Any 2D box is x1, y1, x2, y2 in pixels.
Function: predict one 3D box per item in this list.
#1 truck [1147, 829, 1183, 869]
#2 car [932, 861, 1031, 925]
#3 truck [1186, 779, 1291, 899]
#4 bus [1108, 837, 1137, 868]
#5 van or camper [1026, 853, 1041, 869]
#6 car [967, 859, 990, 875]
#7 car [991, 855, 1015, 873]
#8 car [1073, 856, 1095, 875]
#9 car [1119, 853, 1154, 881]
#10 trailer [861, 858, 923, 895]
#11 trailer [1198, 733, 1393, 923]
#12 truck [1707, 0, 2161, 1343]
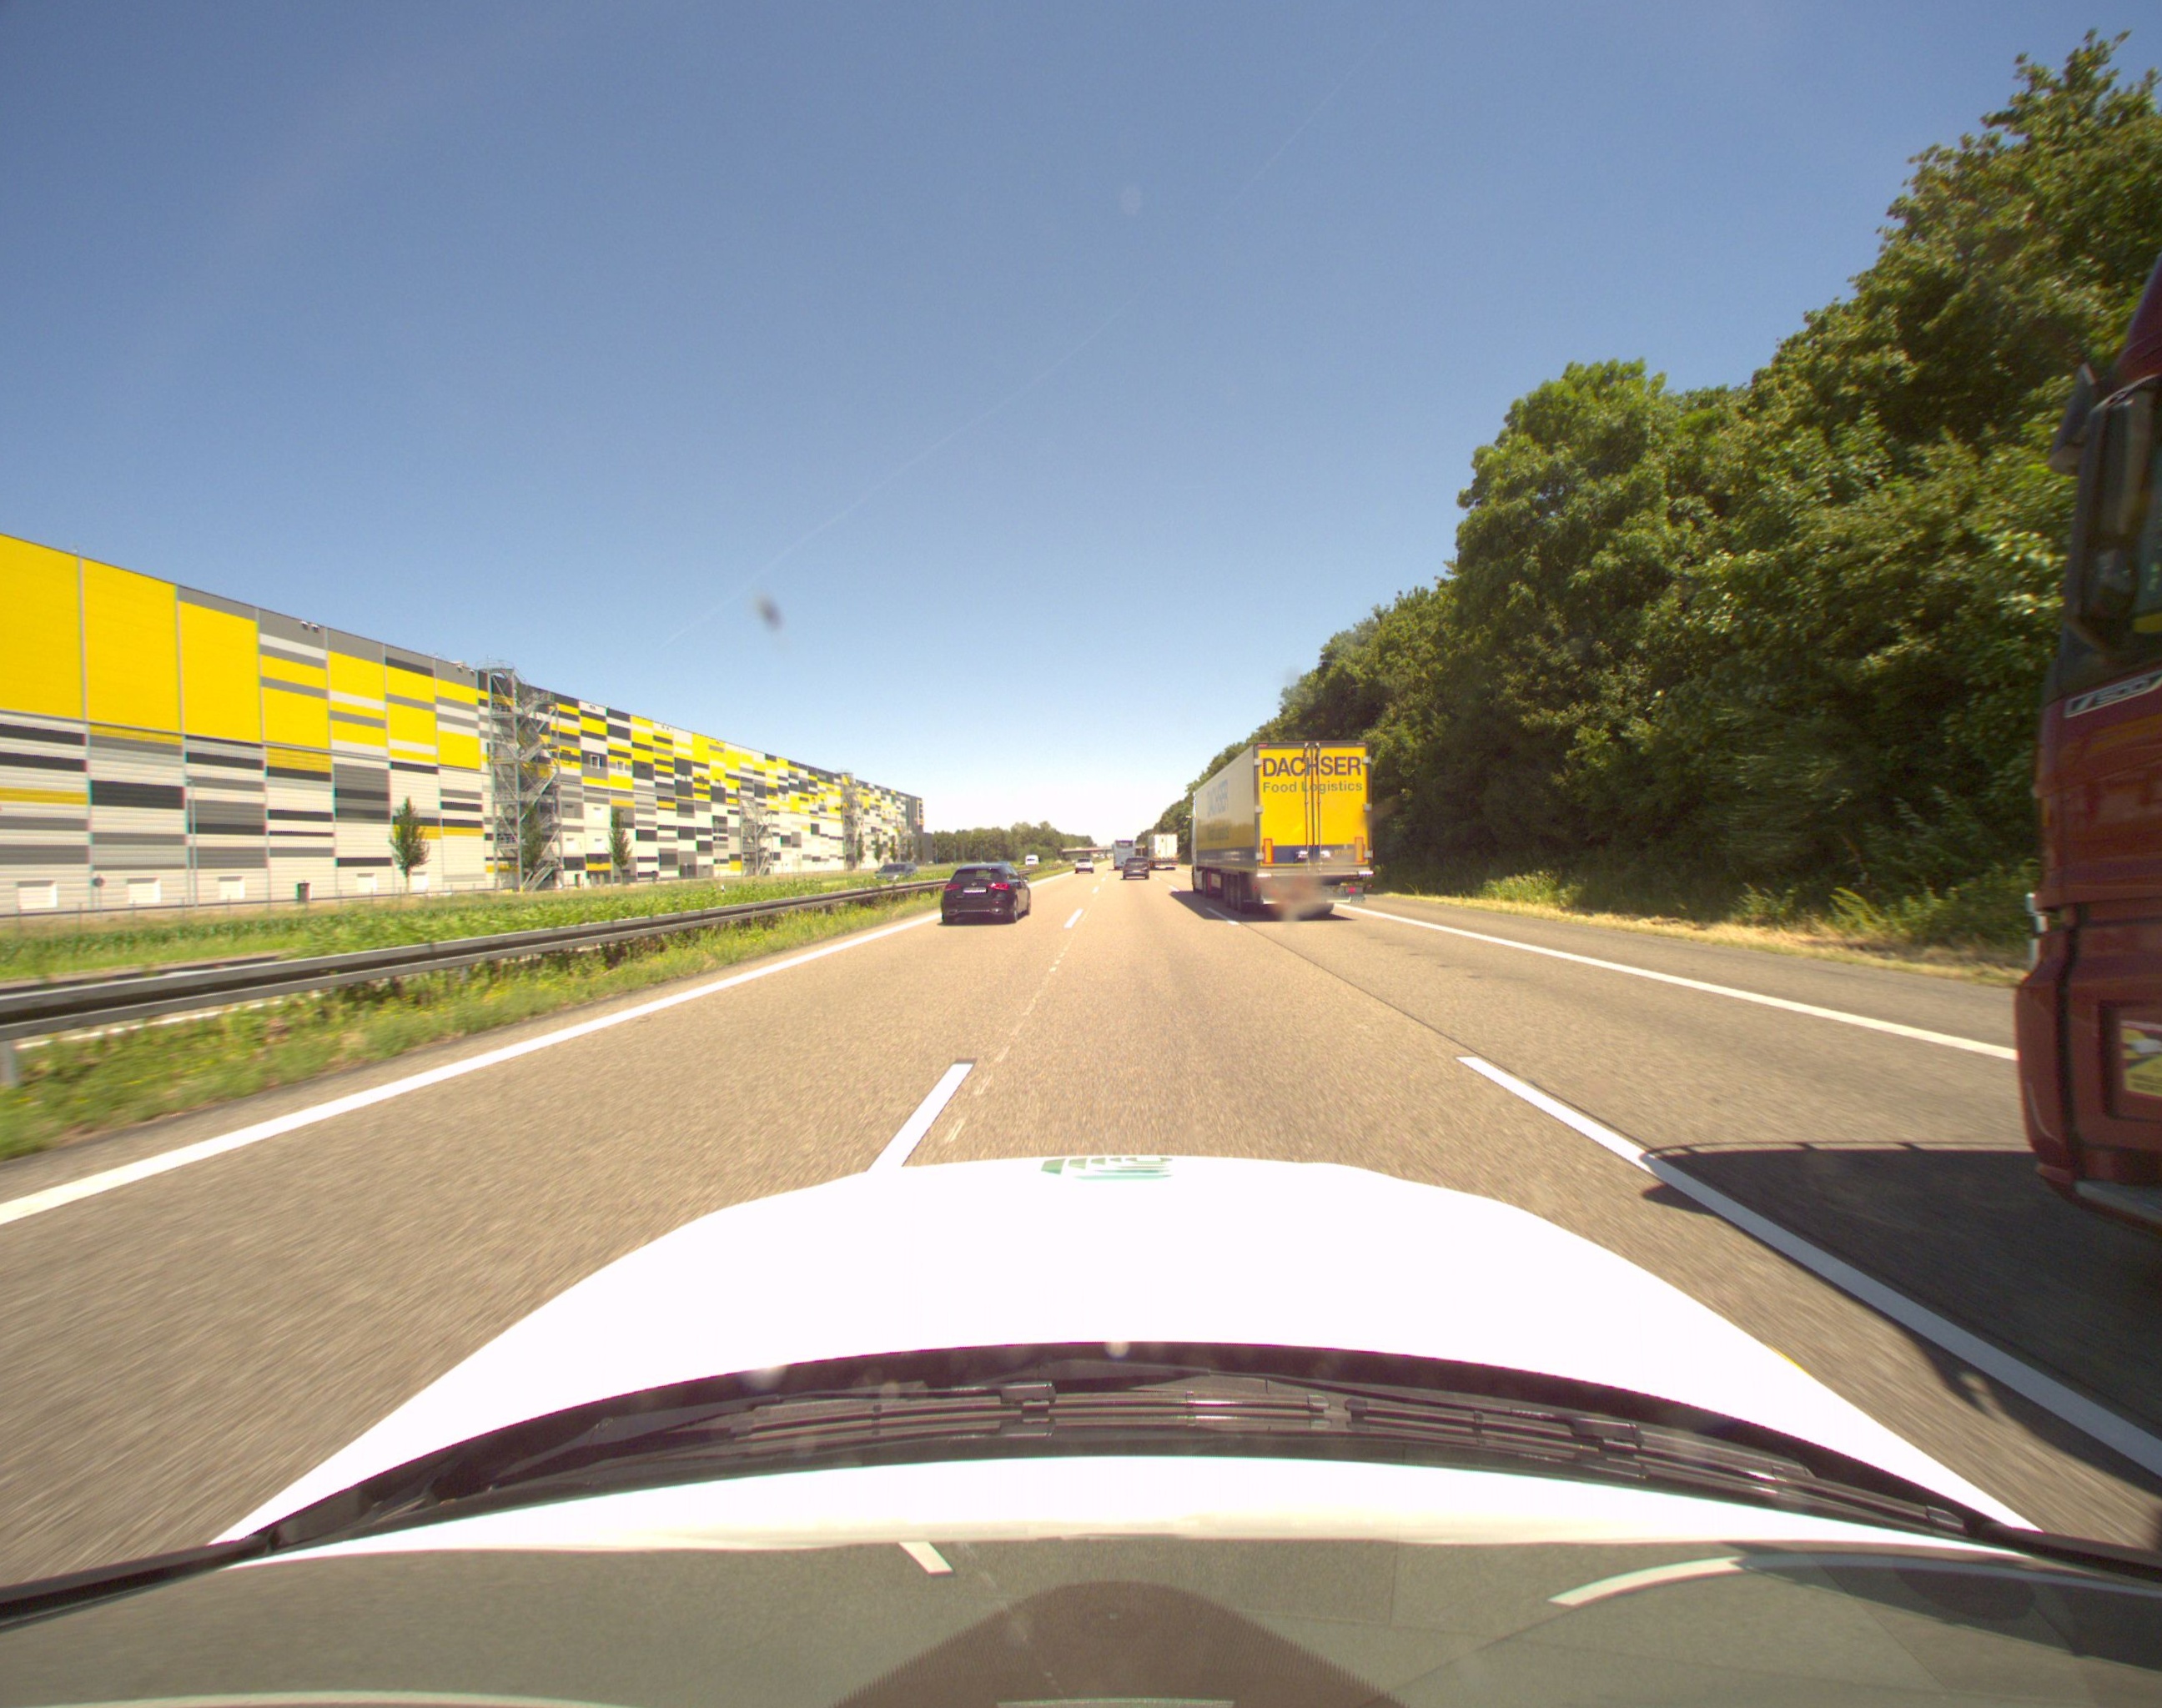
[{"bbox_3d":[9.218,-0.517,90.369,3.408,4.126,9.573,-3,0,4],"label":"truck"},{"bbox_3d":[-2.404,0.905,20.651,1.784,1.412,4.056,-1,0,3],"label":"car"},{"bbox_3d":[5.770,-0.501,30.959,2.802,4.006,6.648,-2,0,2],"label":"truck"},{"bbox_3d":[4.851,-0.139,95.936,3.051,3.326,8.276,-3,0,1],"label":"bus"},{"bbox_3d":[-9.186,1.318,156.532,2.048,2.779,6.970,-3,0,2],"label":"van or camper"},{"bbox_3d":[-12.060,1.522,96.289,1.844,1.612,4.837,-5,0,1],"label":"car"},{"bbox_3d":[-8.137,1.025,84.935,1.904,1.788,4.483,-3,0,1],"label":"car"},{"bbox_3d":[0.338,1.139,80.747,1.986,1.728,4.132,-2,0,2],"label":"car"},{"bbox_3d":[3.736,0.850,56.093,2.207,1.790,5.396,-2,0,2],"label":"car"},{"bbox_3d":[-10.164,1.159,44.170,1.937,1.789,5.239,-3,0,1],"label":"trailer"},{"bbox_3d":[5.399,-0.549,23.128,2.823,3.953,11.690,-2,0,2],"label":"trailer"},{"bbox_3d":[4.633,-0.814,1.053,3.075,4.441,6.057,-1,-1,3],"label":"truck"}]
